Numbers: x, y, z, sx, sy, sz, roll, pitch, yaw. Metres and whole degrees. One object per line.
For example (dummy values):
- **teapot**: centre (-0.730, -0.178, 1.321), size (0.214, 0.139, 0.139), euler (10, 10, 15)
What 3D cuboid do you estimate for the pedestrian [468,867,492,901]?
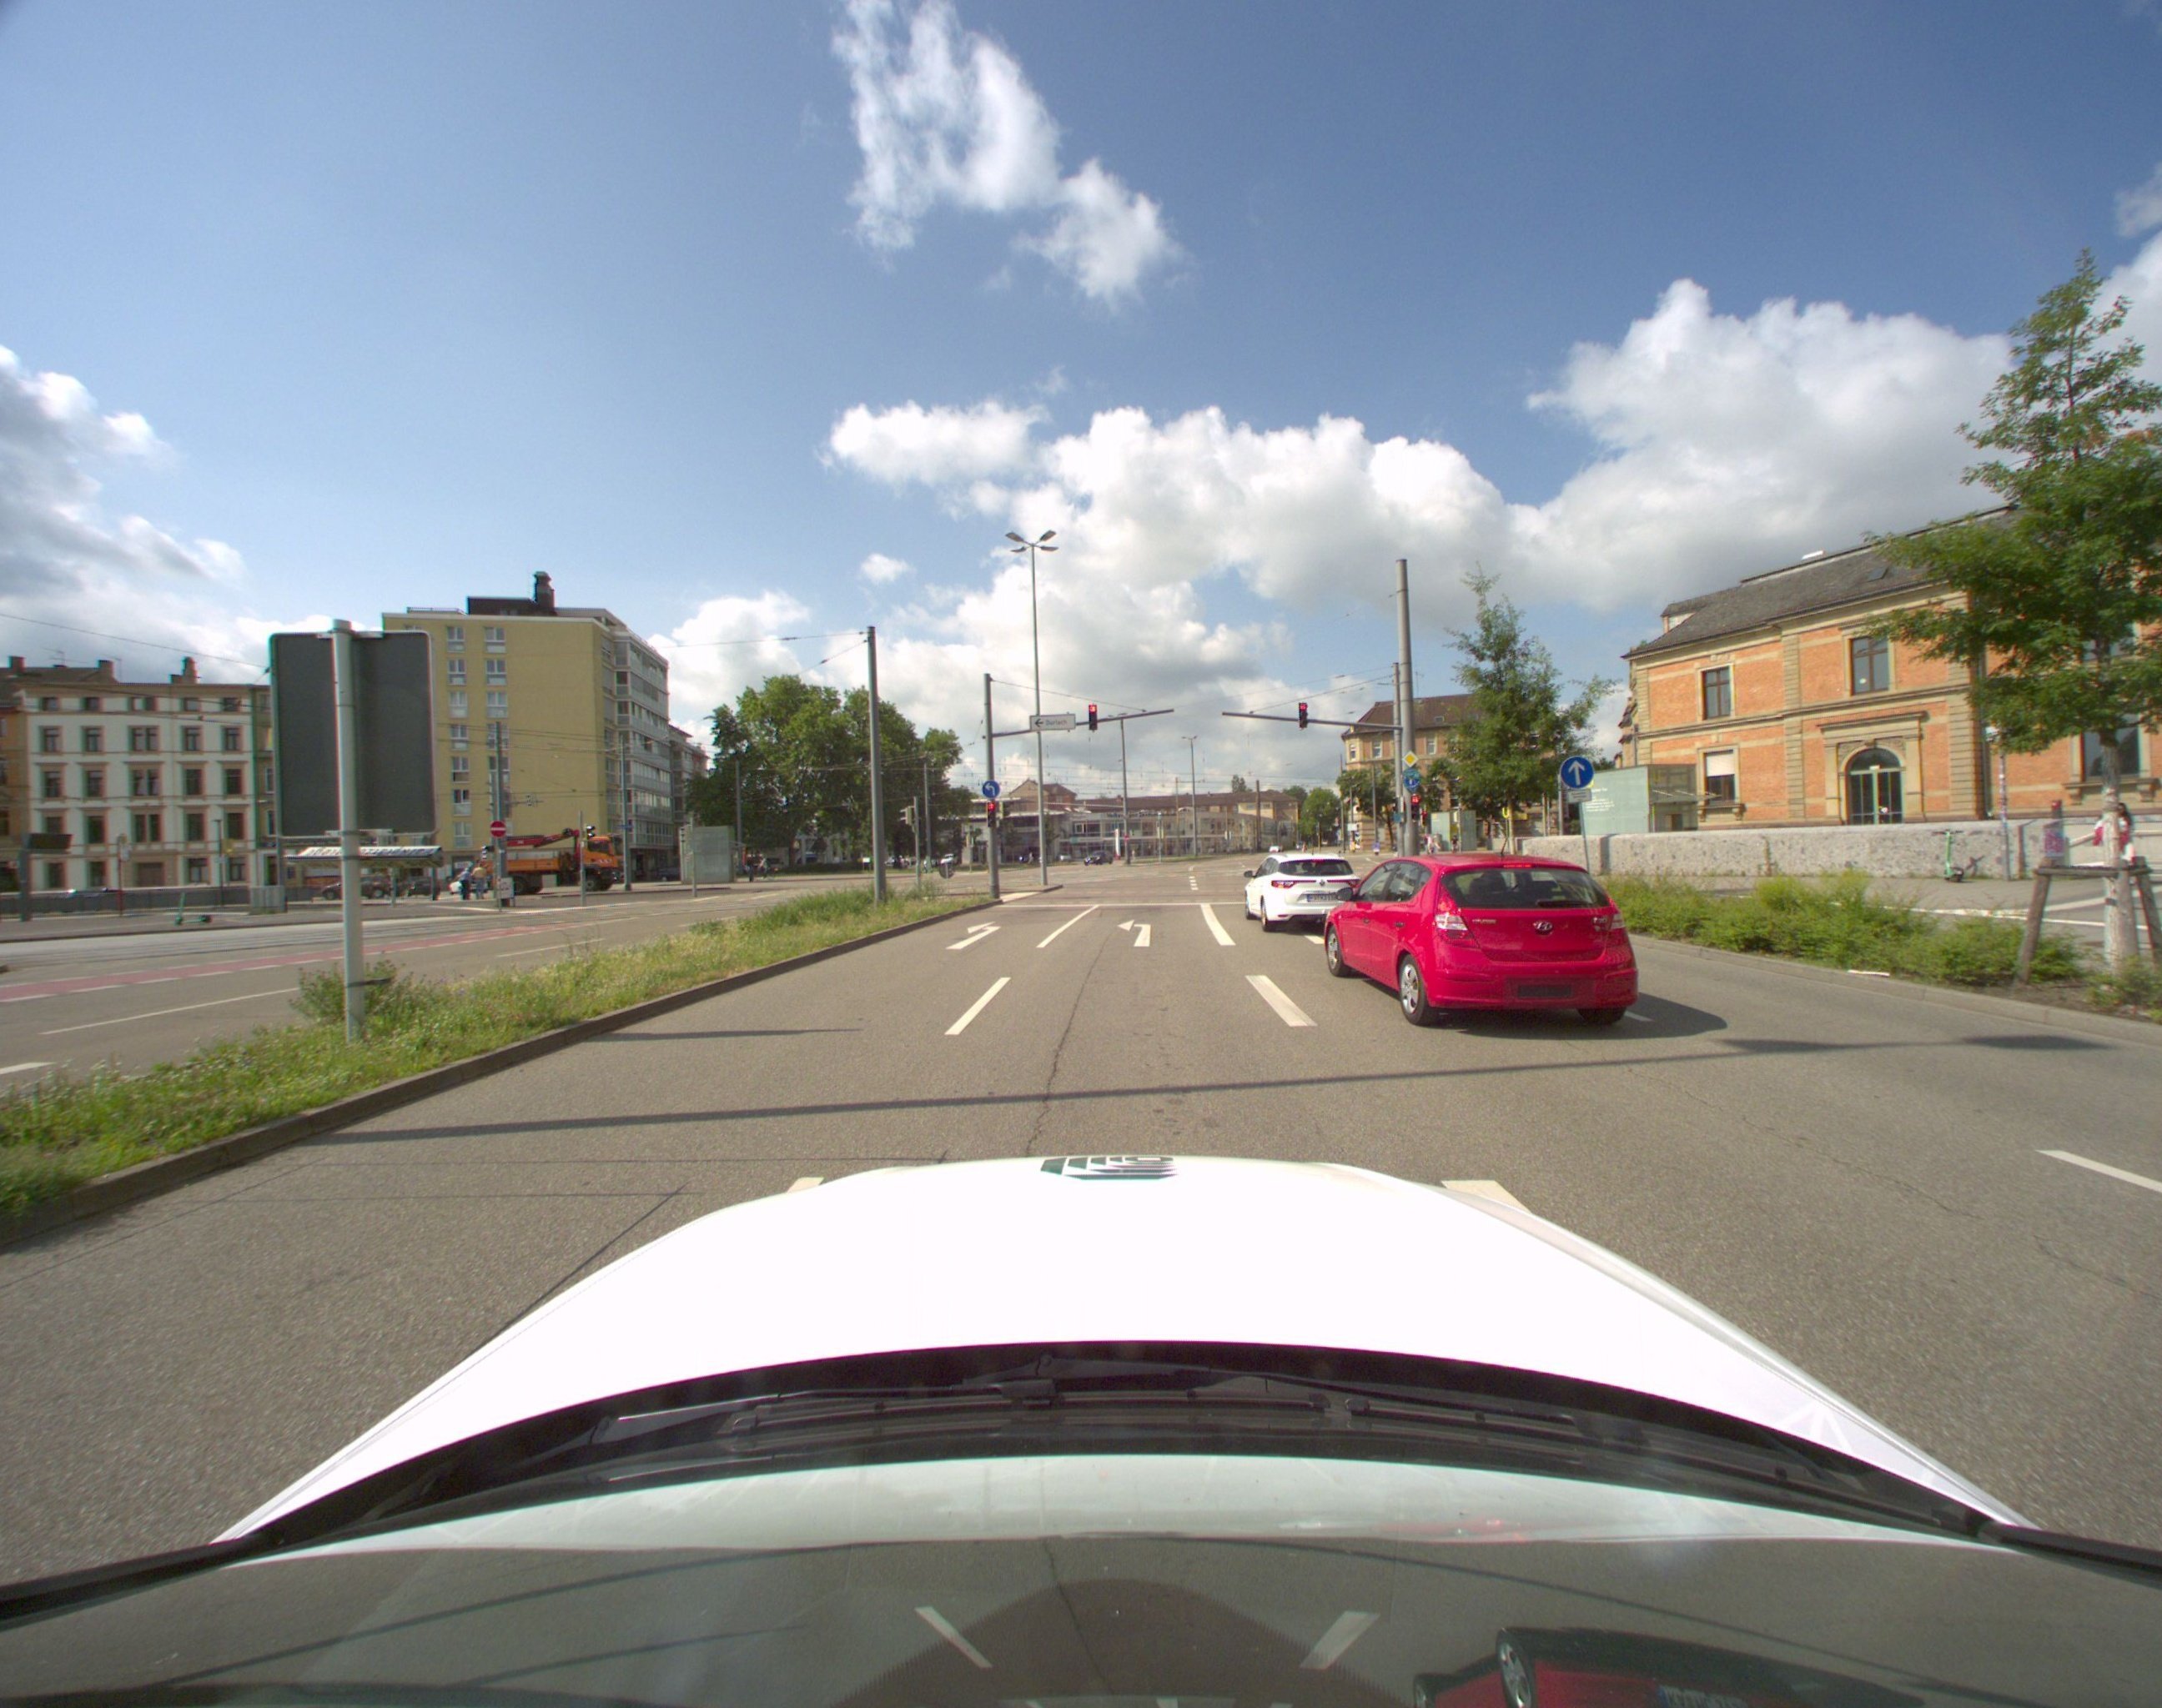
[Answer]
- **pedestrian**: centre (-33.412, 1.658, 45.276), size (0.647, 1.868, 0.782), euler (-2, 0, 4)

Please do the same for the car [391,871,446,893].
- **car**: centre (-47.130, 1.972, 57.927), size (3.953, 1.436, 1.883), euler (-2, 0, 34)

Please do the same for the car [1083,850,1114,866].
- **car**: centre (1.828, 0.354, 83.740), size (1.977, 1.530, 4.019), euler (-2, 0, 18)

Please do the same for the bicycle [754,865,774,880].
- **bicycle**: centre (-26.006, 1.517, 66.812), size (1.469, 1.117, 0.584), euler (-2, 0, -18)

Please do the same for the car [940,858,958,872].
- **car**: centre (-19.901, 1.651, 122.922), size (1.988, 2.013, 3.997), euler (-2, 0, -2)

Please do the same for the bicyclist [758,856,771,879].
- **bicyclist**: centre (-25.985, 1.127, 66.811), size (0.888, 1.871, 0.759), euler (-2, 0, -17)

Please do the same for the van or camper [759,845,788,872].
- **van or camper**: centre (-34.098, 0.499, 90.443), size (2.589, 2.908, 6.061), euler (-2, 0, -18)

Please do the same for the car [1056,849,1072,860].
- **car**: centre (-2.614, 0.113, 121.924), size (1.992, 1.596, 3.990), euler (-2, 0, -7)

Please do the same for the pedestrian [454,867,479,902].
- **pedestrian**: centre (-34.194, 1.682, 45.334), size (0.695, 1.860, 0.820), euler (-2, 0, 4)

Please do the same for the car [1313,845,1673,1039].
- **car**: centre (3.742, 0.664, 8.307), size (1.808, 1.439, 4.071), euler (-1, 1, 3)

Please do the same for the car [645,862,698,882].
- **car**: centre (-37.635, 1.641, 75.008), size (3.996, 1.662, 1.989), euler (-2, 0, -16)

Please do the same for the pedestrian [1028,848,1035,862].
- **pedestrian**: centre (-7.172, 0.161, 117.960), size (0.880, 1.948, 0.887), euler (-2, 0, -3)

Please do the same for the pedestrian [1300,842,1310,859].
- **pedestrian**: centre (21.346, -0.326, 77.646), size (0.678, 1.535, 0.667), euler (-2, 0, -36)

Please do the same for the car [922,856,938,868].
- **car**: centre (-22.824, 1.229, 123.132), size (1.793, 1.769, 3.997), euler (-2, 0, -2)

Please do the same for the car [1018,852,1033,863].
- **car**: centre (-8.165, 0.512, 119.660), size (1.989, 1.552, 4.074), euler (-2, 0, -3)

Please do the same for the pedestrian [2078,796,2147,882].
- **pedestrian**: centre (20.970, -0.314, 16.572), size (0.886, 1.686, 0.756), euler (-3, 1, -44)

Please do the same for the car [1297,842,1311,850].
- **car**: centre (44.208, -1.569, 161.447), size (1.976, 1.574, 4.022), euler (-2, 0, 23)

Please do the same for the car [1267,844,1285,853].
- **car**: centre (33.620, -1.010, 140.094), size (1.975, 1.442, 4.025), euler (-2, 0, 28)

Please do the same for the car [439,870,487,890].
- **car**: centre (-45.128, 1.892, 59.494), size (3.629, 1.350, 1.708), euler (-2, 0, 35)

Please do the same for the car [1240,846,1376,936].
- **car**: centre (4.291, 0.617, 16.055), size (1.839, 1.472, 4.342), euler (-2, 0, 6)

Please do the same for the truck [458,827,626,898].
- **truck**: centre (-32.011, 0.451, 48.696), size (7.930, 3.856, 2.188), euler (-2, 0, -16)
